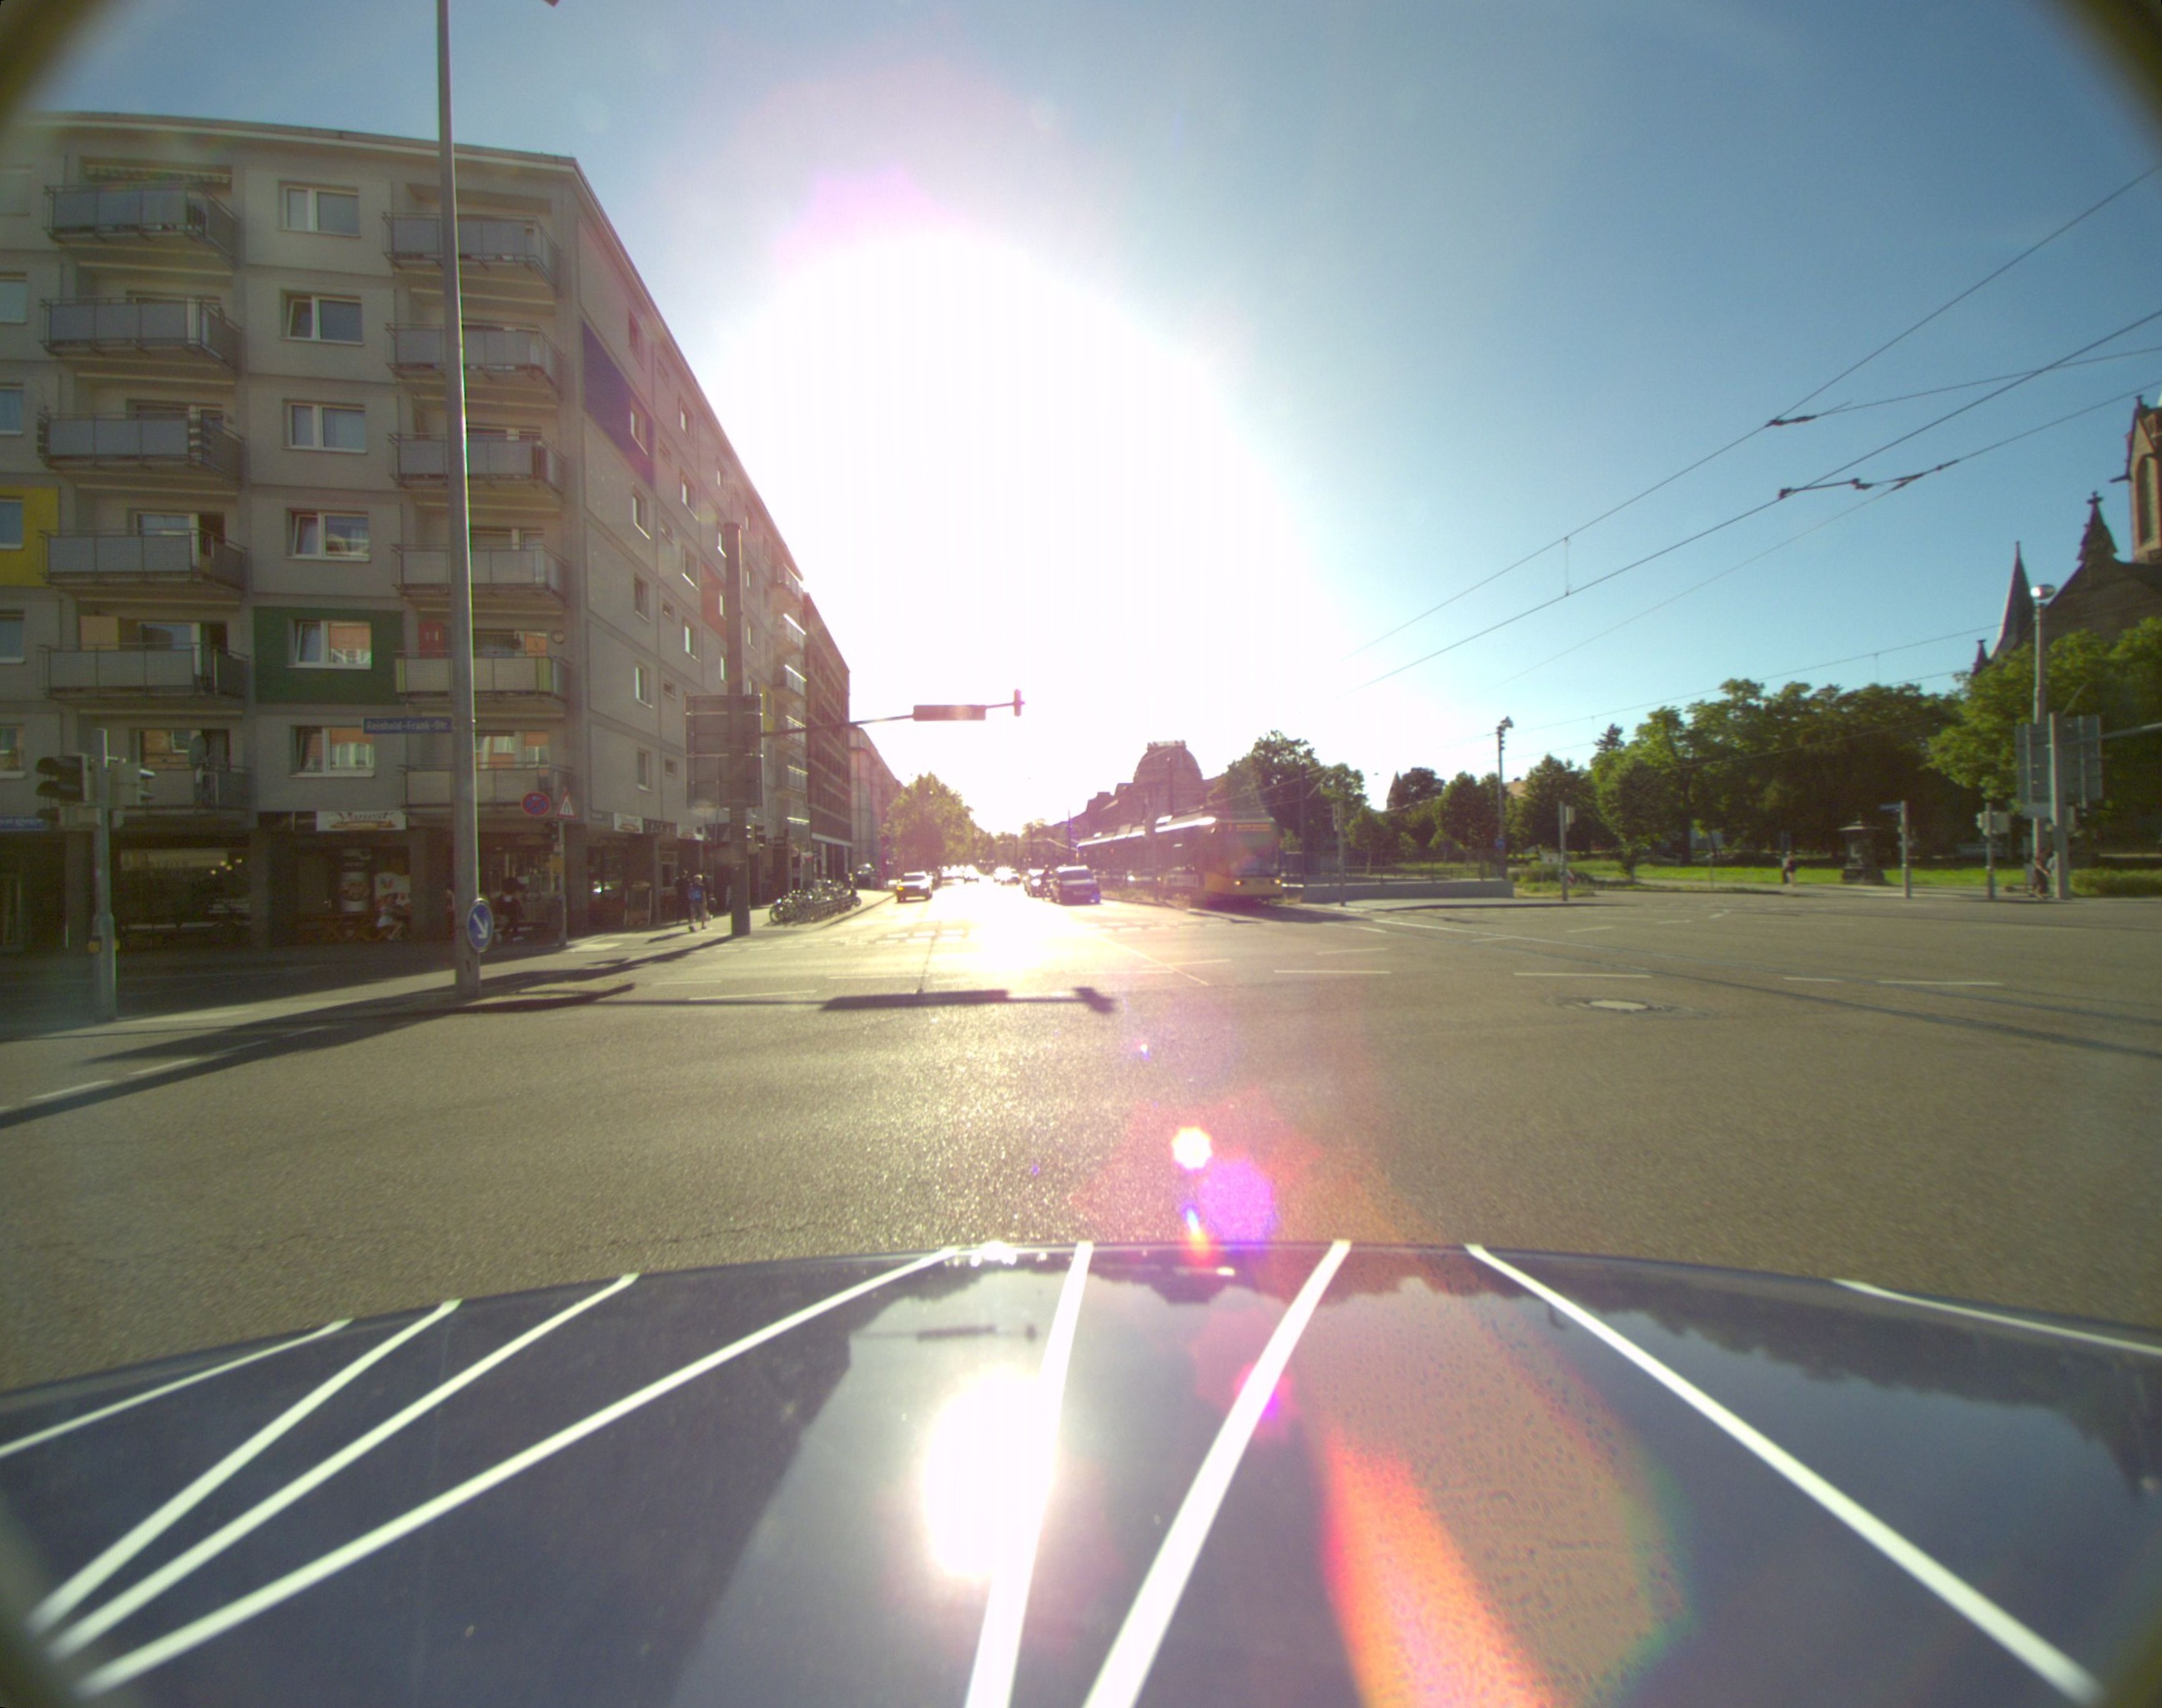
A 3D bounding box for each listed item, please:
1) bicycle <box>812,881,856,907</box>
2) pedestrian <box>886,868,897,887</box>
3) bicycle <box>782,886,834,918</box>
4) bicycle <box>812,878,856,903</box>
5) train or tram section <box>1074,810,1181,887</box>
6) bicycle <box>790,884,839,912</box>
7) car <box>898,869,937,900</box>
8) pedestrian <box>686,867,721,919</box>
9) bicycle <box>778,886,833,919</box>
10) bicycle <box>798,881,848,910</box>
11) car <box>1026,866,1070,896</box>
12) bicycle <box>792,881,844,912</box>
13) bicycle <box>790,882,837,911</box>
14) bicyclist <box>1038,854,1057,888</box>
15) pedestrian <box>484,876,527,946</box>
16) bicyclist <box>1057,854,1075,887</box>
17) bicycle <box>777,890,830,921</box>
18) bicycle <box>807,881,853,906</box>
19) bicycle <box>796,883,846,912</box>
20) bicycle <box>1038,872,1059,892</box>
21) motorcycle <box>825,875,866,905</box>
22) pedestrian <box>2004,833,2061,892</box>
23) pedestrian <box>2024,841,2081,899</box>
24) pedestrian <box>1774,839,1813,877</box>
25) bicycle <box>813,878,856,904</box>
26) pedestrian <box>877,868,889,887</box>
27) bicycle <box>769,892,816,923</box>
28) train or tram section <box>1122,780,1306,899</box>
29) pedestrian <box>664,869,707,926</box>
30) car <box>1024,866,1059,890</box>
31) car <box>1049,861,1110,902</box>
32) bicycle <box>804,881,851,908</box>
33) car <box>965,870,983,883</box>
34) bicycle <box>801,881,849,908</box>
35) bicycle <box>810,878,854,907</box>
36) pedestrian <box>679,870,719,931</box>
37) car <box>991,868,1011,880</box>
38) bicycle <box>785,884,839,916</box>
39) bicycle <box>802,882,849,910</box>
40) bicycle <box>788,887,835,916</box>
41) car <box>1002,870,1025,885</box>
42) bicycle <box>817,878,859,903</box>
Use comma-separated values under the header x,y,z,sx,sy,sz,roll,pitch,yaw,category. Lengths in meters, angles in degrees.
x,y,z,sx,sy,sz,roll,pitch,yaw,category
-11.102,1.803,34.238,1.824,1.054,0.415,-2,1,-14,bicycle
-19.144,2.381,76.753,0.868,1.873,1.220,-2,0,-26,pedestrian
-10.037,1.764,27.977,1.756,1.093,0.399,-1,1,-11,bicycle
-11.241,1.676,34.614,1.824,1.054,0.415,-1,1,-13,bicycle
2.222,-0.207,43.600,2.959,3.591,13.623,-2,0,-10,train or tram section
-10.469,1.721,29.863,1.775,1.049,0.415,0,1,-10,bicycle
-9.986,1.830,46.646,1.903,1.677,4.115,-2,0,-7,car
-13.839,1.416,27.905,0.791,1.875,0.874,-2,0,-2,pedestrian
-9.987,1.745,27.561,1.757,1.070,0.406,-3,1,-11,bicycle
-10.544,1.684,31.087,1.824,1.054,0.415,-3,1,-12,bicycle
-1.974,1.543,44.561,2.000,1.421,4.128,-3,1,-10,car
-10.462,1.687,30.249,1.824,1.107,0.405,-3,1,-10,bicycle
-10.313,1.647,29.376,1.644,1.105,0.530,1,0,-12,bicycle
-1.710,0.860,39.097,0.704,1.720,0.853,-4,1,-15,bicyclist
-15.059,1.479,19.893,0.569,1.763,0.664,-2,1,-7,pedestrian
-0.763,0.841,39.276,0.694,1.650,0.918,-3,1,-10,bicyclist
-9.805,1.813,26.856,1.705,1.005,0.410,-1,1,-12,bicycle
-10.858,1.717,32.915,1.824,1.006,0.415,-1,1,-14,bicycle
-10.470,1.765,30.662,1.824,1.054,0.415,-2,1,-10,bicycle
-1.686,1.441,39.128,0.631,0.934,1.903,-4,1,-15,bicycle
-11.794,1.804,38.060,1.885,1.421,0.888,0,0,-14,motorcycle
33.447,0.292,26.720,0.879,2.002,0.924,-3,1,-8,pedestrian
34.577,0.549,27.049,0.879,2.002,0.924,-3,1,-8,pedestrian
35.731,0.172,38.112,0.845,1.836,1.114,-3,1,-12,pedestrian
-11.700,1.750,36.098,1.824,1.167,0.702,-2,1,-14,bicycle
-17.322,2.045,66.513,0.773,1.641,0.671,-2,0,2,pedestrian
-9.781,1.798,25.782,1.434,1.005,0.410,-1,1,-8,bicycle
4.591,-0.420,30.546,2.959,3.663,13.173,-2,0,-10,train or tram section
-13.179,1.430,25.364,0.866,1.824,1.210,-2,0,-10,pedestrian
-2.772,1.657,52.650,1.893,1.421,4.129,-3,0,-10,car
-0.154,1.186,34.499,2.000,1.528,4.352,-3,1,-10,car
-10.792,1.703,32.369,1.824,1.063,0.415,-1,2,-14,bicycle
-12.665,2.651,89.834,1.988,1.284,4.389,-2,0,-10,car
-10.611,1.671,31.506,1.824,1.054,0.415,-1,2,-13,bicycle
-11.060,1.702,33.821,1.783,1.222,0.415,-2,1,-14,bicycle
-11.473,1.386,22.836,0.792,1.766,0.874,-2,0,-10,pedestrian
-9.043,2.236,85.418,1.988,1.284,4.323,-2,0,-10,car
-10.202,1.737,28.860,1.820,1.076,0.530,-3,1,-12,bicycle
-10.725,1.749,31.936,1.824,1.063,0.415,-2,2,-14,bicycle
-10.071,1.760,28.409,1.548,0.960,0.387,-3,1,-10,bicycle
-6.481,2.234,72.316,1.860,1.284,4.092,-2,0,-10,car
-11.208,1.671,35.081,1.824,1.054,0.415,-1,1,-14,bicycle
